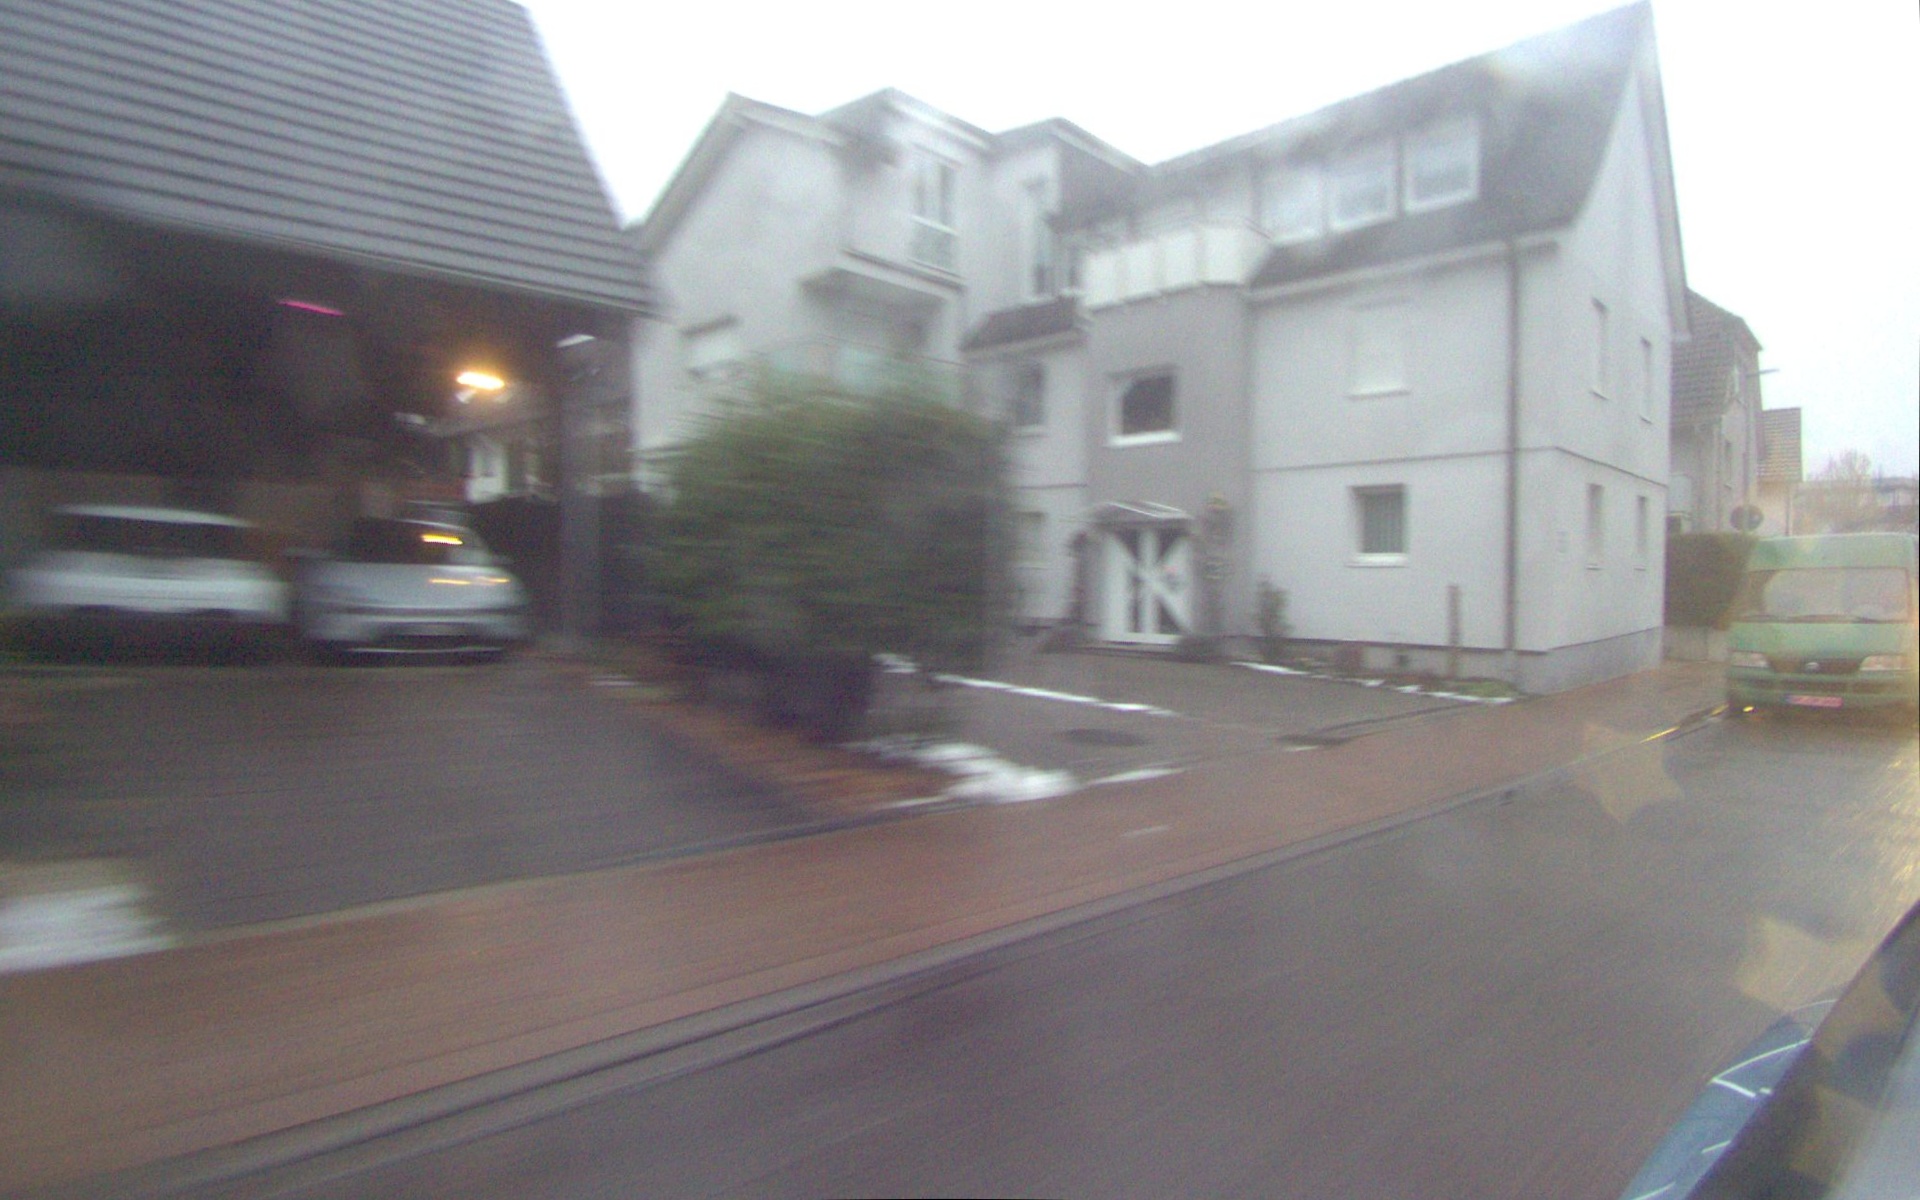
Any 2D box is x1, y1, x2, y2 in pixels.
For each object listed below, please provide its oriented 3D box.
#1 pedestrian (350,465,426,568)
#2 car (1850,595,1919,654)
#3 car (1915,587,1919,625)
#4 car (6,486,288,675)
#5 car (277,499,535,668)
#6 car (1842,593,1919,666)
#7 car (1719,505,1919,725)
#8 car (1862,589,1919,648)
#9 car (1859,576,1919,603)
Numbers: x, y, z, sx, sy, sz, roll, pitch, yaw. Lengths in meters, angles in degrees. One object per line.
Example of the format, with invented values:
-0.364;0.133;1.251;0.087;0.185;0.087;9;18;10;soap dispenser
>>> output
-13.370;-1.944;23.666;0.994;2.322;1.220;5;4;38;pedestrian
24.542;0.593;26.463;1.735;1.424;4.236;1;1;44;car
40.611;0.276;41.387;1.983;1.577;4.175;1;1;40;car
-8.384;-0.228;10.552;1.944;1.561;4.067;0;2;-39;car
-6.532;-0.221;11.702;1.944;1.583;4.067;0;2;-39;car
20.971;0.603;22.657;1.643;1.496;4.302;1;0;44;car
12.330;0.158;13.941;5.519;2.485;2.011;0;0;-43;car
27.661;0.495;29.567;1.810;1.558;4.236;1;1;44;car
70.027;-0.794;76.052;1.828;1.907;4.858;0;1;18;car
